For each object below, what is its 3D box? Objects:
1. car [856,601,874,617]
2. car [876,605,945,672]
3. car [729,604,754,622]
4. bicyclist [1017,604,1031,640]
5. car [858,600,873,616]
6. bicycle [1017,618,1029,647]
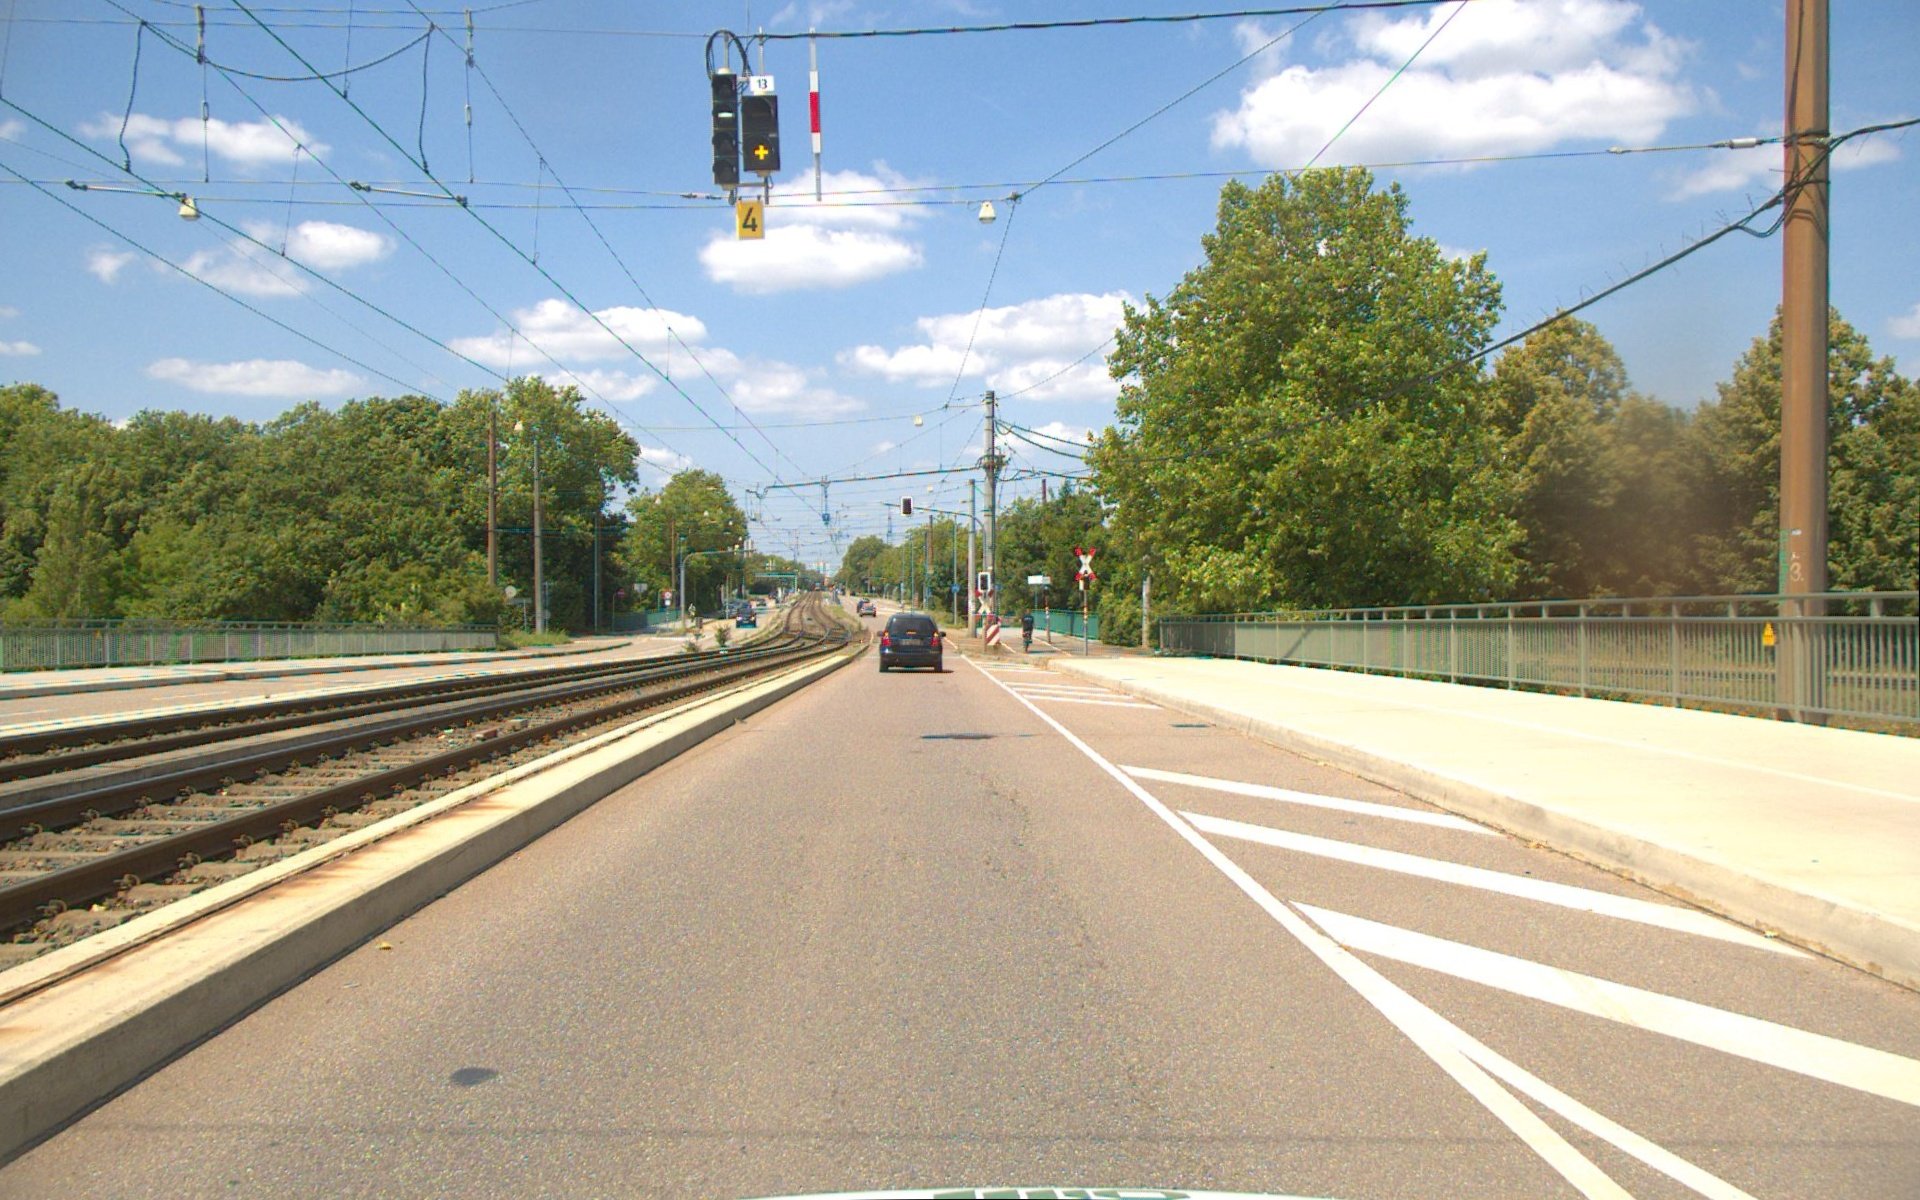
[{"bbox_3d":[-10.980,1.036,191.430,1.847,1.668,4.000,3,1,-1],"label":"car"},{"bbox_3d":[-1.384,1.025,46.354,1.815,1.597,4.387,1,2,-2],"label":"car"},{"bbox_3d":[-18.380,1.089,139.451,1.670,1.536,3.732,-1,-1,-1],"label":"car"},{"bbox_3d":[2.767,0.956,71.504,0.573,1.521,0.558,1,1,0],"label":"bicyclist"},{"bbox_3d":[-12.857,1.076,225.559,1.953,2.048,3.999,1,1,-2],"label":"car"},{"bbox_3d":[2.738,1.407,71.602,0.423,1.172,1.855,1,1,0],"label":"bicycle"}]
